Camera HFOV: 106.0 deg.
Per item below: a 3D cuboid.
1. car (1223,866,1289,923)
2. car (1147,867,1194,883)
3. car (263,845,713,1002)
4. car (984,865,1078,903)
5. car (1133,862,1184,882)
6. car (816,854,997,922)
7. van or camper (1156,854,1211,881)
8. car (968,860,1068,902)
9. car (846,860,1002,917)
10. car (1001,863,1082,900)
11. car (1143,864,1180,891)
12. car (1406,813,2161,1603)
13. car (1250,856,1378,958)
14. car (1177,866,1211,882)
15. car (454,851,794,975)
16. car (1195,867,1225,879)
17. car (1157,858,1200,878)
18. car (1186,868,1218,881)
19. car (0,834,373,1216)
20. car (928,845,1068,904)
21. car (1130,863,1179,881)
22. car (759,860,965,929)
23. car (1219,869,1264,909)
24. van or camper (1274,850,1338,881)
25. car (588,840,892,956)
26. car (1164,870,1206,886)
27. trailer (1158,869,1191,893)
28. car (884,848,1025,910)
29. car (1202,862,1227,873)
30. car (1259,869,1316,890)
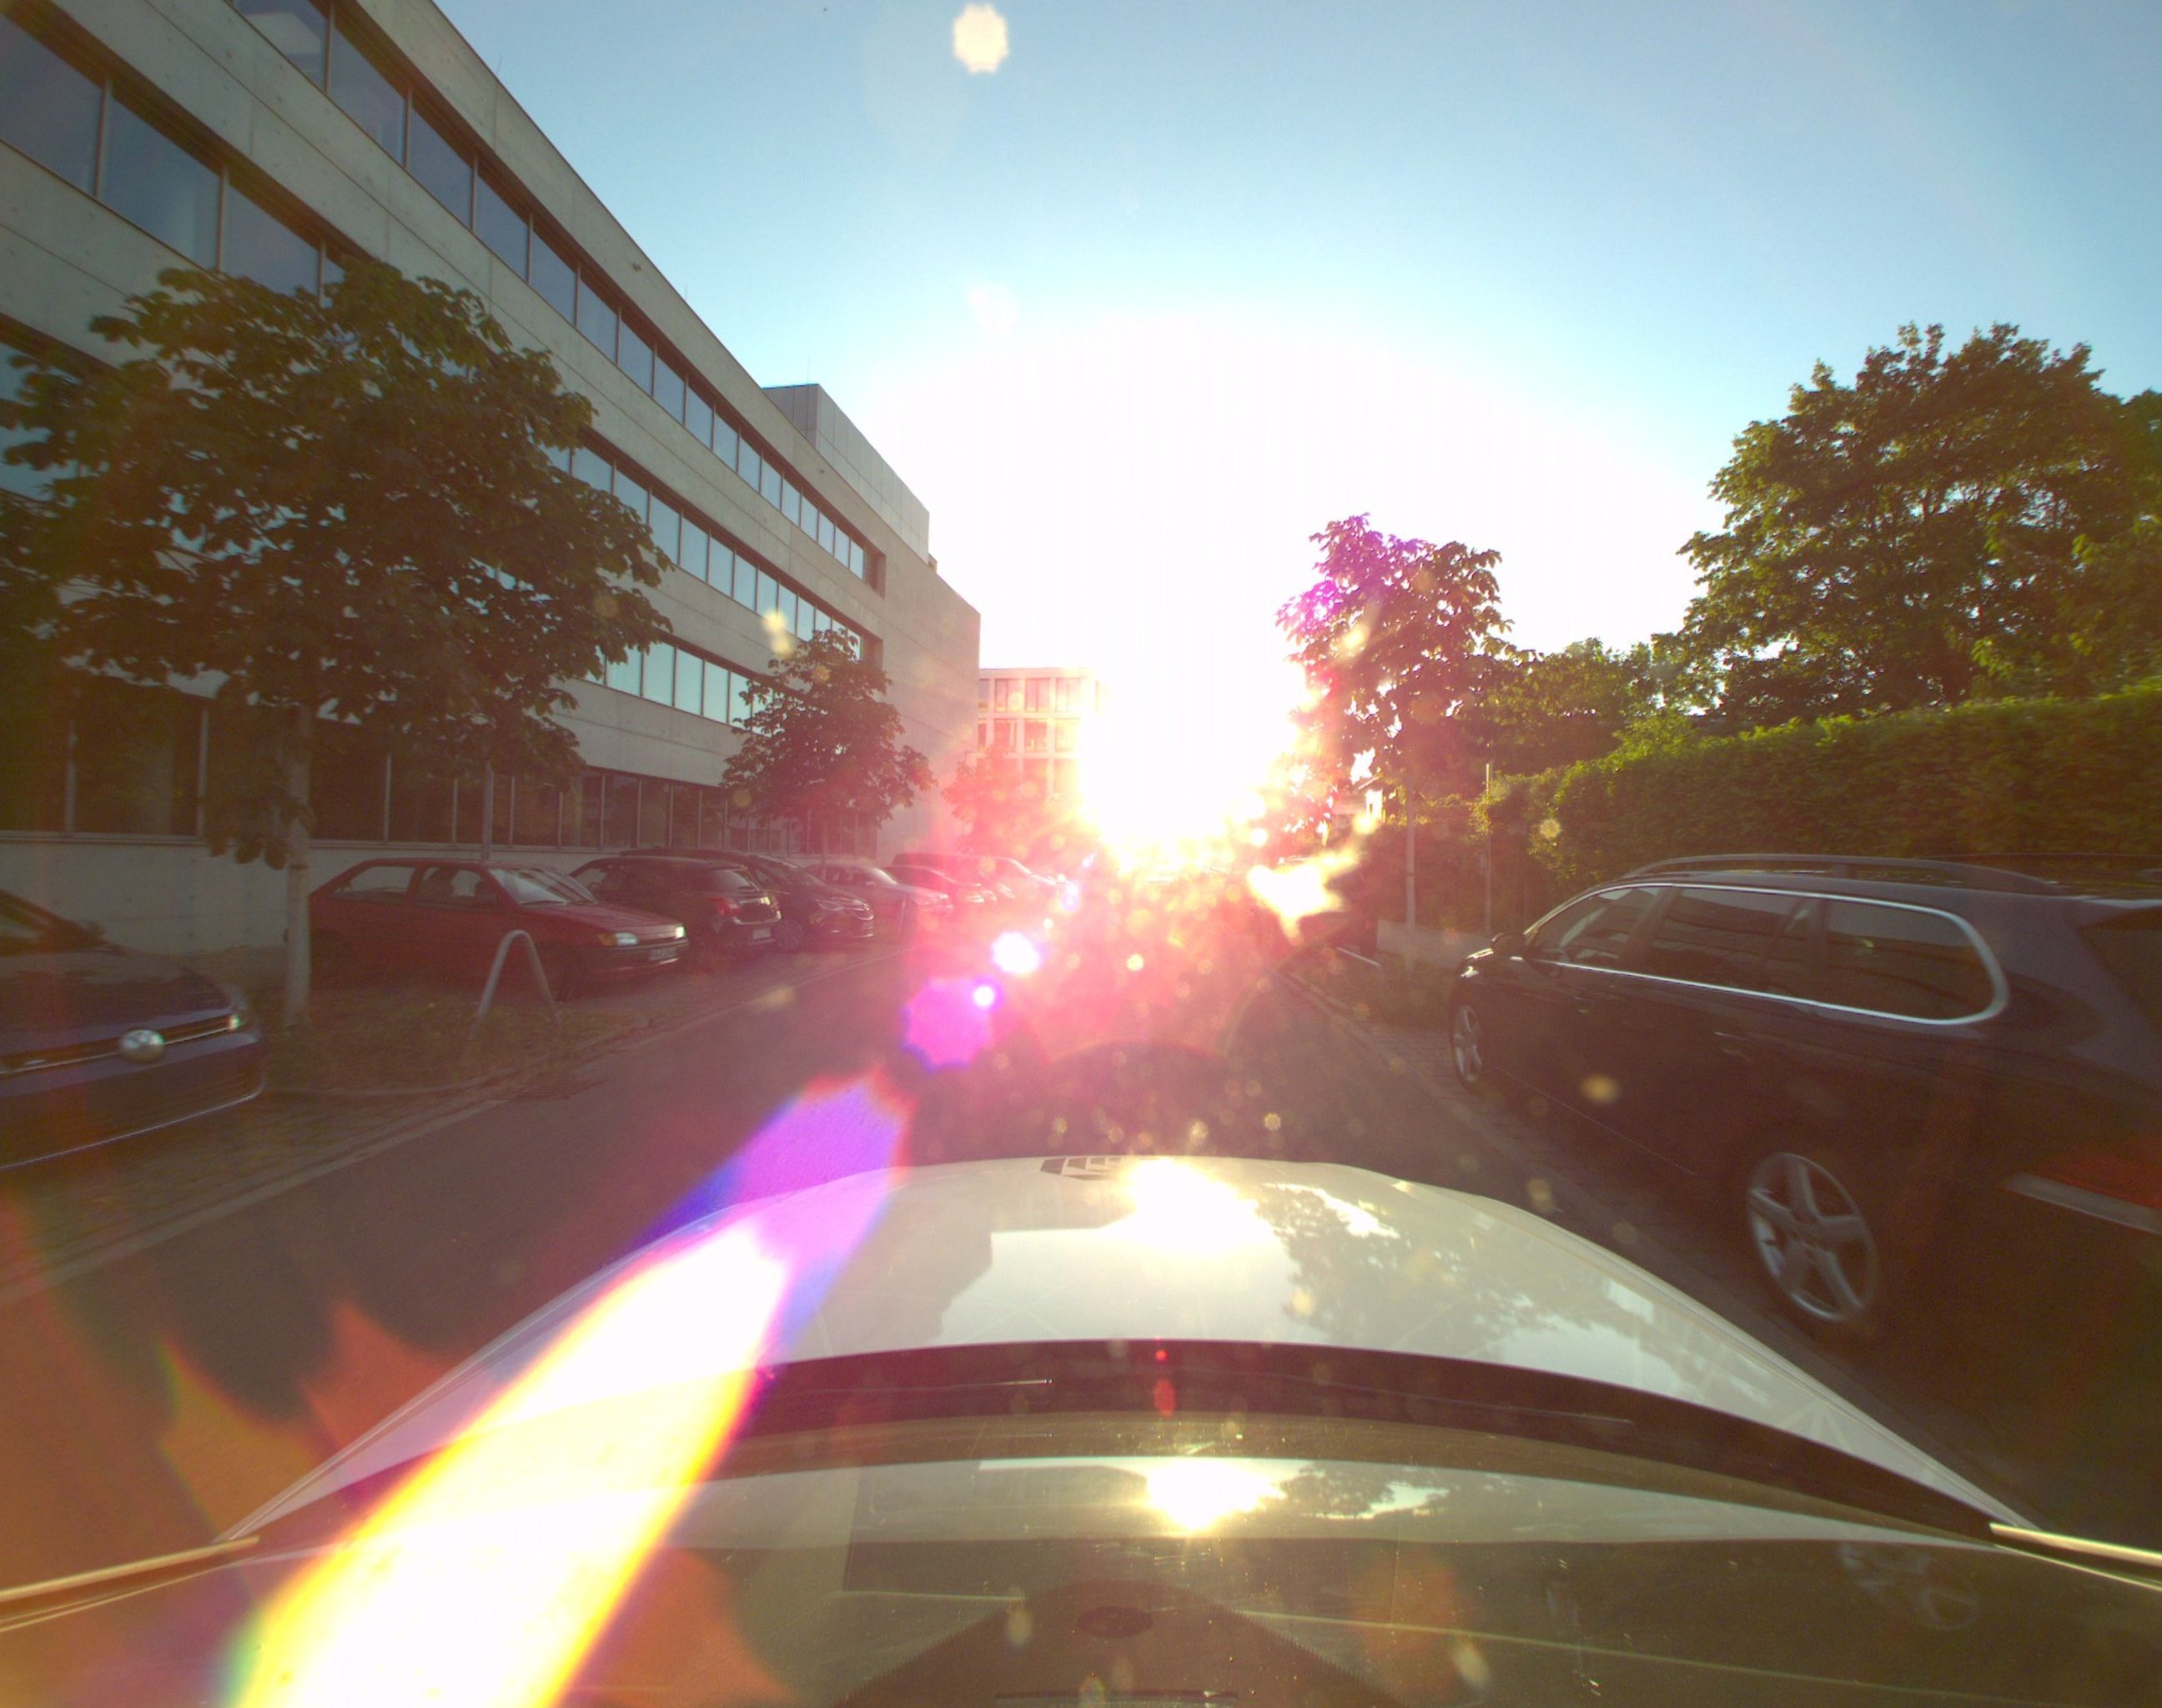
[{"bbox_3d":[5.035,1.112,23.813,1.683,1.510,4.203,0,-1,9],"label":"car"},{"bbox_3d":[8.292,1.943,75.270,4.019,1.479,1.775,-1,0,16],"label":"car"},{"bbox_3d":[-6.358,0.702,9.040,3.687,1.458,1.712,2,-1,2],"label":"car"},{"bbox_3d":[-2.242,1.326,36.854,3.863,1.489,1.655,3,-1,9],"label":"car"},{"bbox_3d":[6.625,1.500,69.188,4.022,1.479,1.774,2,1,13],"label":"car"},{"bbox_3d":[-4.702,0.899,22.154,4.369,1.499,1.768,3,-1,11],"label":"car"},{"bbox_3d":[10.666,1.380,84.960,5.411,2.484,1.783,2,0,16],"label":"van or camper"},{"bbox_3d":[-2.686,1.157,35.061,3.965,1.522,1.609,3,-1,7],"label":"car"},{"bbox_3d":[-4.611,1.008,24.253,4.121,1.404,1.728,3,-1,7],"label":"car"},{"bbox_3d":[-1.946,1.351,40.392,3.609,1.577,1.667,3,-1,14],"label":"car"},{"bbox_3d":[5.288,1.556,52.927,1.940,1.686,4.735,-1,-2,11],"label":"car"},{"bbox_3d":[3.122,0.699,3.744,1.703,1.550,4.553,0,0,4],"label":"car"},{"bbox_3d":[3.830,0.809,13.882,1.569,1.510,3.503,0,-1,7],"label":"car"},{"bbox_3d":[12.423,2.166,89.444,3.532,1.652,1.464,-1,0,16],"label":"car"},{"bbox_3d":[-6.147,0.755,11.231,3.686,1.458,1.681,2,-1,3],"label":"car"},{"bbox_3d":[16.256,2.345,102.432,3.532,1.479,1.464,-1,0,16],"label":"car"},{"bbox_3d":[9.565,1.378,79.978,4.022,1.908,1.742,-1,0,12],"label":"car"},{"bbox_3d":[14.365,2.383,96.346,3.532,1.479,1.464,-1,0,16],"label":"car"},{"bbox_3d":[-6.301,0.652,4.113,3.855,1.511,1.760,2,0,1],"label":"car"},{"bbox_3d":[-3.197,0.785,31.958,5.047,1.947,1.893,3,-1,8],"label":"car"},{"bbox_3d":[6.576,1.596,73.107,4.019,1.479,1.775,2,-1,16],"label":"car"},{"bbox_3d":[-5.220,0.937,19.697,4.410,1.464,1.767,1,0,7],"label":"car"},{"bbox_3d":[7.088,1.465,35.628,1.712,1.580,4.614,1,-1,13],"label":"car"},{"bbox_3d":[20.887,1.052,75.958,5.573,2.790,2.437,-1,0,12],"label":"van or camper"},{"bbox_3d":[-5.662,0.703,13.896,4.290,1.696,1.898,2,-1,3],"label":"car"},{"bbox_3d":[10.485,2.443,82.088,4.022,1.524,1.742,-1,0,12],"label":"car"},{"bbox_3d":[6.599,1.856,57.269,1.693,1.348,3.501,4,2,15],"label":"trailer"},{"bbox_3d":[-4.162,0.817,27.178,4.224,1.742,1.728,3,-1,7],"label":"car"},{"bbox_3d":[17.223,1.766,104.896,2.992,1.421,1.464,-1,0,16],"label":"car"},{"bbox_3d":[15.315,1.894,60.537,4.024,1.479,1.773,-1,0,11],"label":"car"}]
